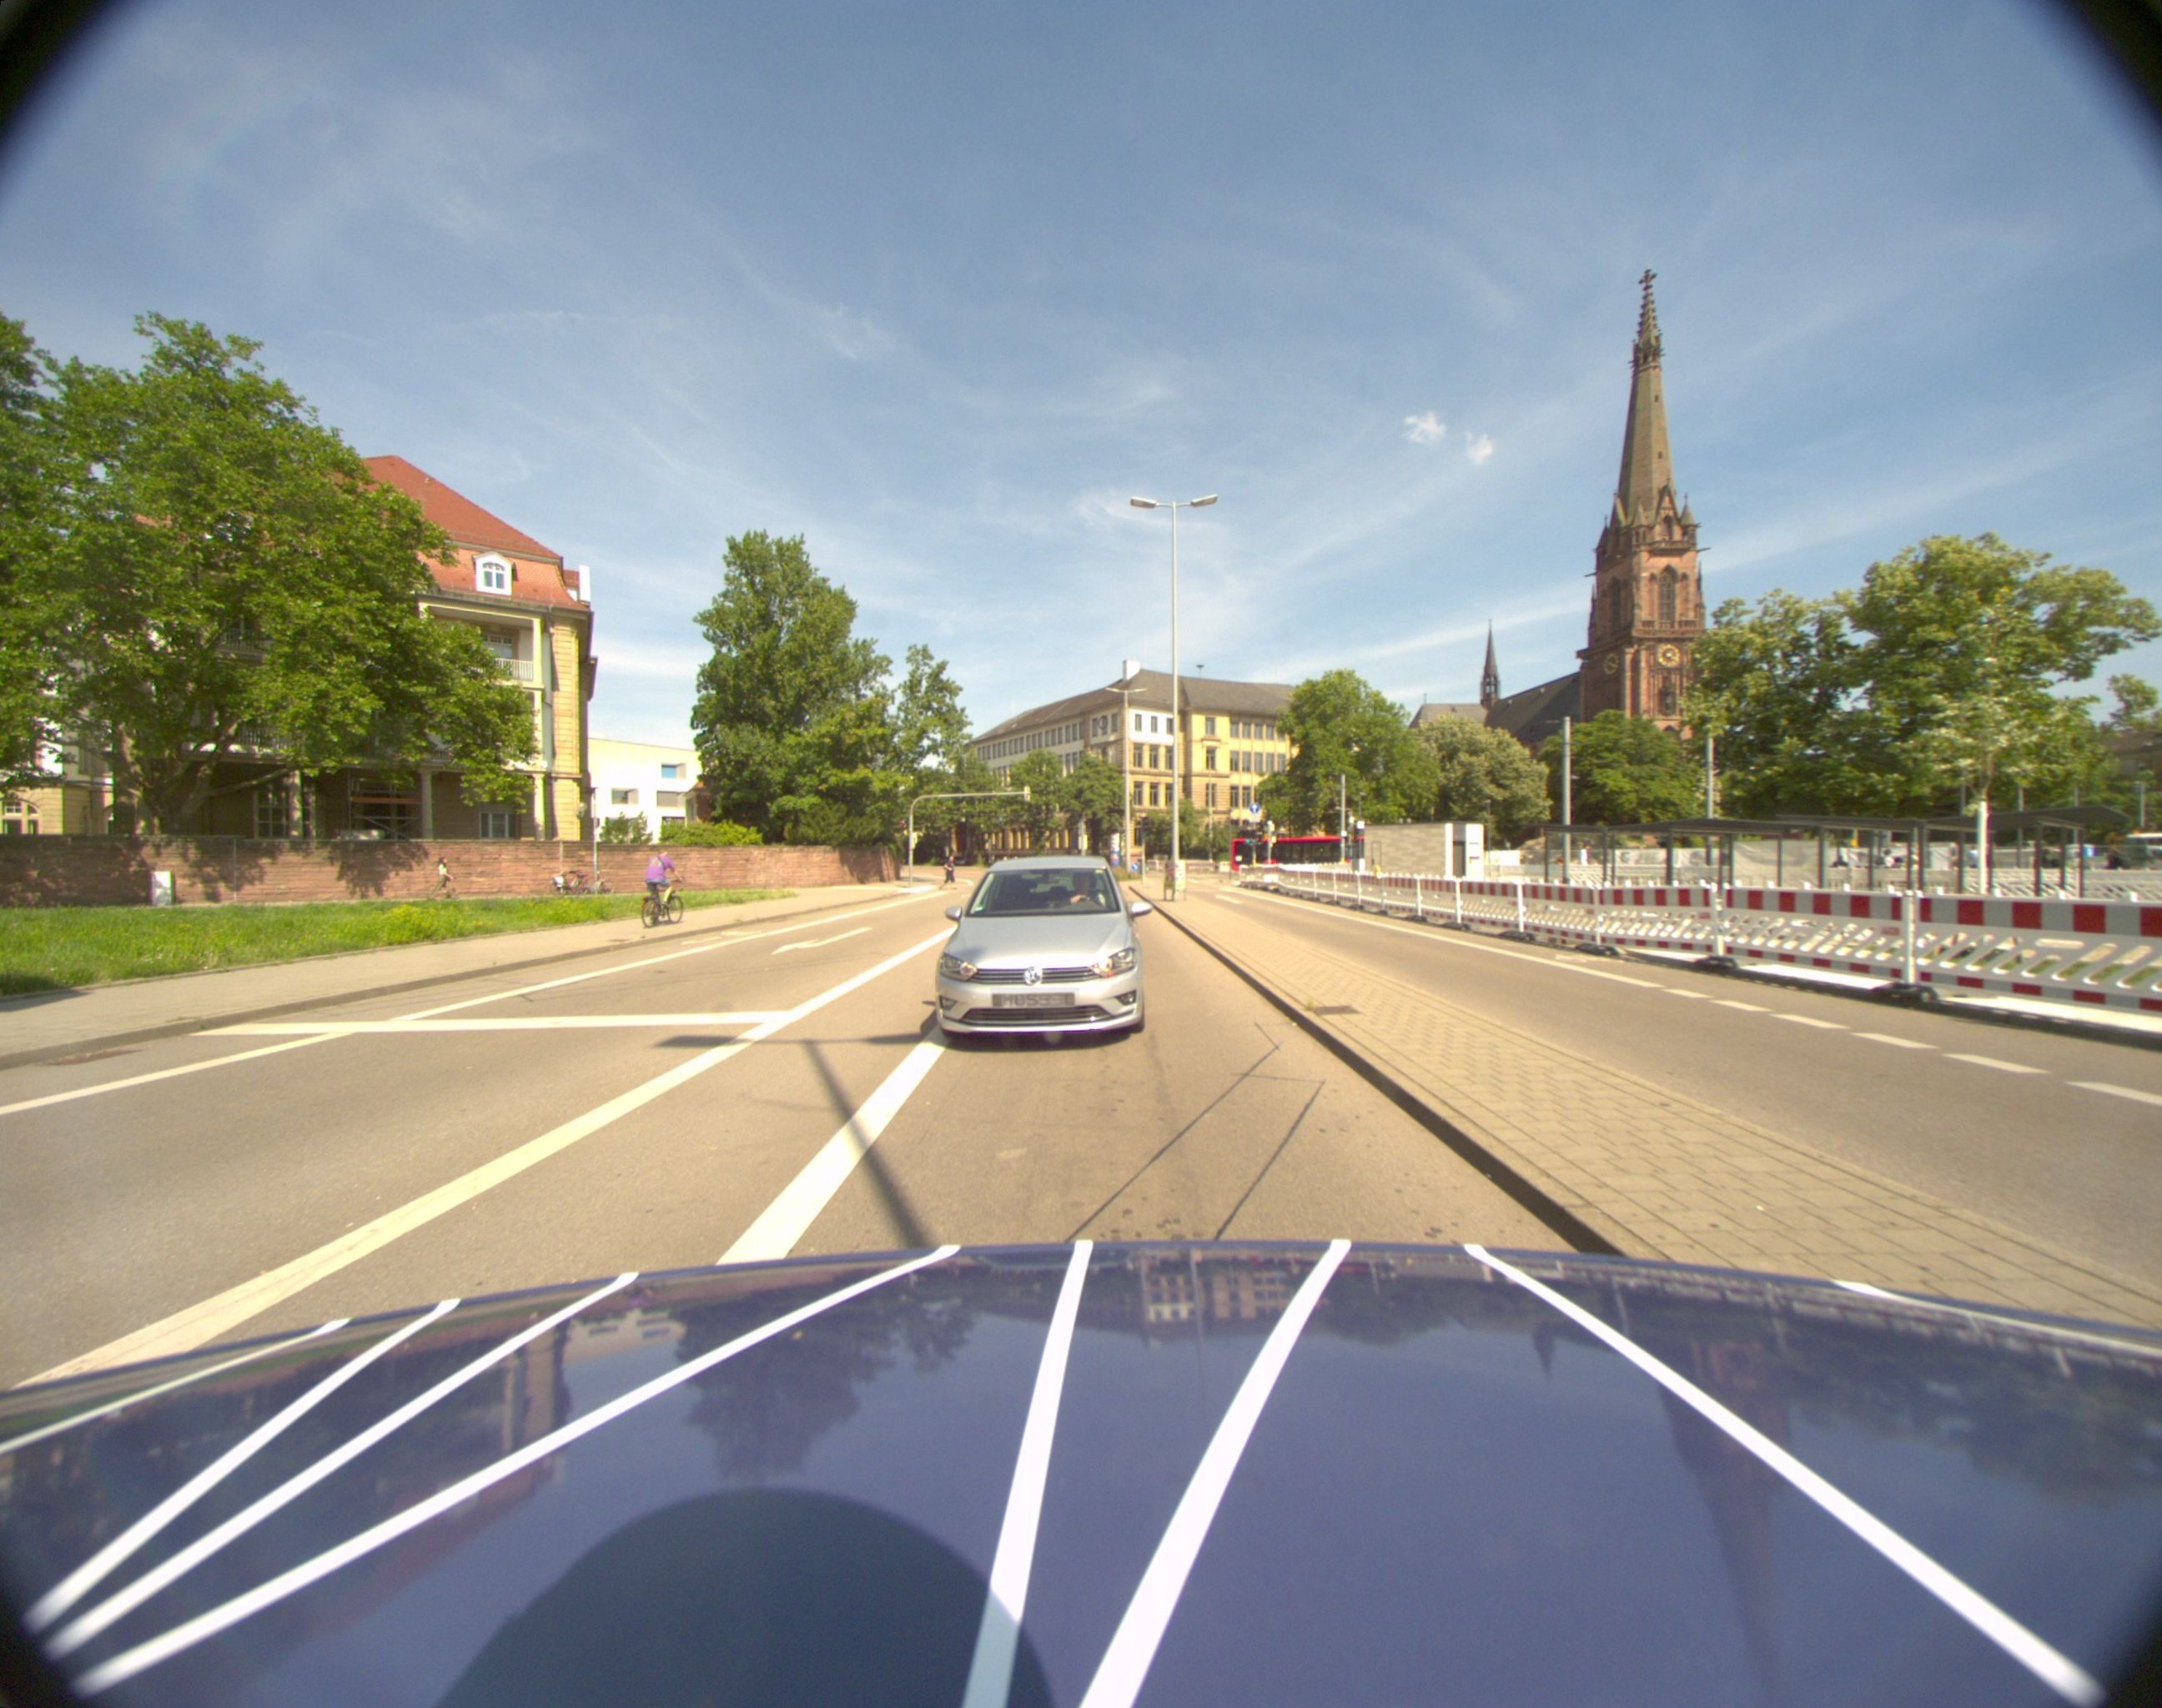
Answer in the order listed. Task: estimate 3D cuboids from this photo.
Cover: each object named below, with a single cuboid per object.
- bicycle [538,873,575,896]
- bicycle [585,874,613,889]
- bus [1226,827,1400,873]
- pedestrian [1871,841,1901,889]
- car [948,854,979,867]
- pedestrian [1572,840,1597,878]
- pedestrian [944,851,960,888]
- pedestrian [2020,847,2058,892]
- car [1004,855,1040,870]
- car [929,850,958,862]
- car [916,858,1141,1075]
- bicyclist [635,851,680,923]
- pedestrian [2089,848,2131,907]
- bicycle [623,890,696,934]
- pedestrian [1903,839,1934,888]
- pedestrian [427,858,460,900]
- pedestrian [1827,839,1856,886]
[{"bbox_3d":[-21.410,1.227,31.052,0.393,0.878,1.230,0,1,20],"label":"bicycle"},{"bbox_3d":[-20.563,1.171,32.432,0.274,0.598,0.950,1,1,39],"label":"bicycle"},{"bbox_3d":[17.661,-0.249,58.715,12.379,3.076,3.139,-2,1,34],"label":"bus"},{"bbox_3d":[34.243,0.441,32.329,0.822,2.002,0.685,-1,1,-30],"label":"pedestrian"},{"bbox_3d":[-17.453,0.919,113.028,4.006,1.653,1.994,-3,4,-35],"label":"car"},{"bbox_3d":[26.501,0.250,40.003,0.820,2.002,0.686,0,1,3],"label":"pedestrian"},{"bbox_3d":[-7.137,0.859,41.980,0.796,2.002,0.615,0,1,-14],"label":"pedestrian"},{"bbox_3d":[36.338,0.581,28.831,0.743,1.652,0.822,1,1,42],"label":"pedestrian"},{"bbox_3d":[-7.536,1.006,96.855,4.006,1.653,1.994,-3,4,-34],"label":"car"},{"bbox_3d":[-21.491,0.338,119.022,4.006,1.653,1.994,-3,4,-34],"label":"car"},{"bbox_3d":[-0.301,0.846,7.762,1.687,1.577,4.152,0,0,3],"label":"car"},{"bbox_3d":[-10.011,0.757,17.992,0.488,1.627,1.084,0,1,-2],"label":"bicyclist"},{"bbox_3d":[35.558,0.794,26.250,0.821,2.002,0.685,0,1,-24],"label":"pedestrian"},{"bbox_3d":[-9.972,1.357,18.073,0.685,0.882,1.932,0,1,-1],"label":"bicycle"},{"bbox_3d":[35.015,0.394,31.759,0.822,2.002,0.685,0,1,-30],"label":"pedestrian"},{"bbox_3d":[-24.069,0.922,28.690,0.915,1.539,0.502,-1,1,-36],"label":"pedestrian"},{"bbox_3d":[32.866,0.363,32.832,0.822,2.002,0.685,0,1,-30],"label":"pedestrian"}]
